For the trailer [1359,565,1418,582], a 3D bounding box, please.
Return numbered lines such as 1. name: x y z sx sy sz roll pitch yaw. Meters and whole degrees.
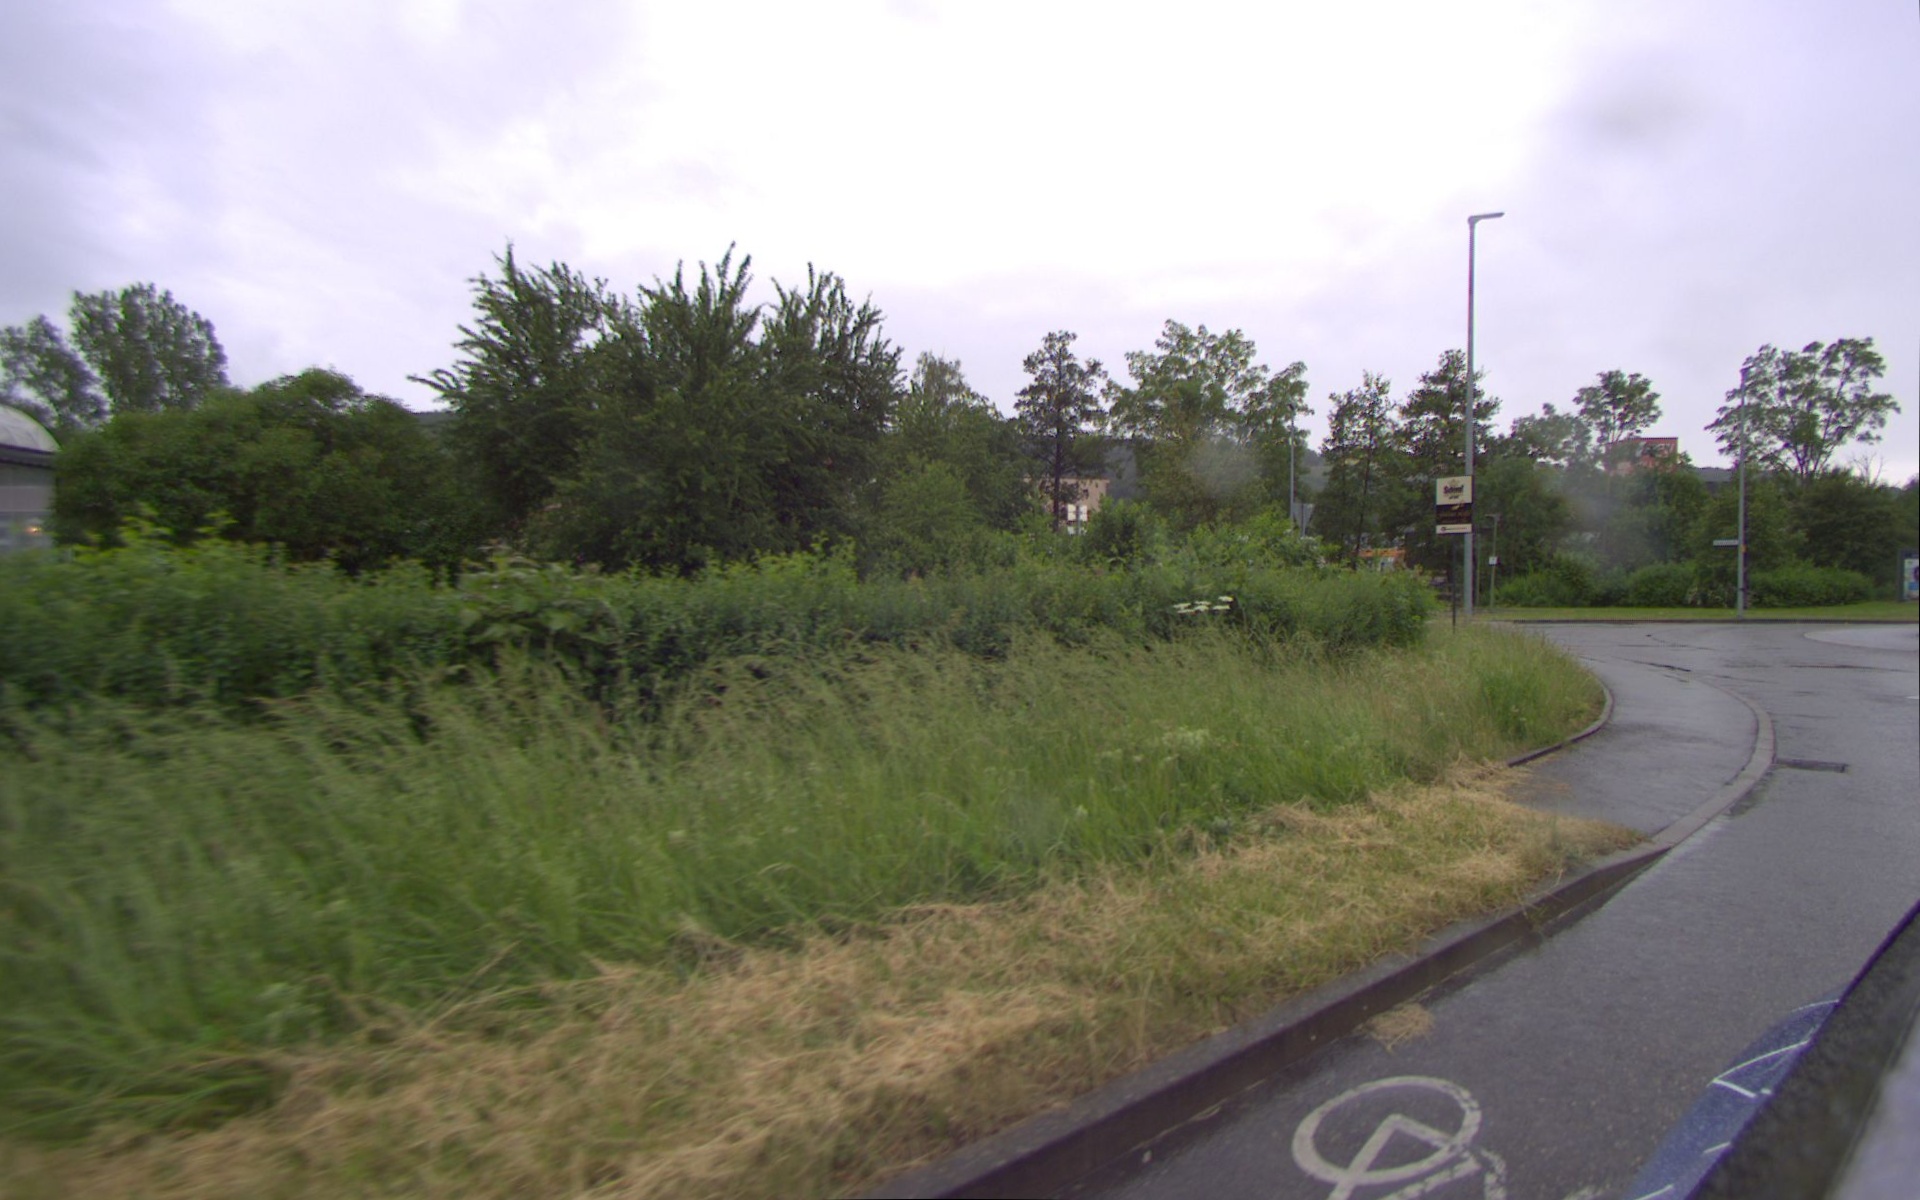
1. trailer: 52.361 -3.291 123.871 6.561 2.038 2.558 1 3 23
